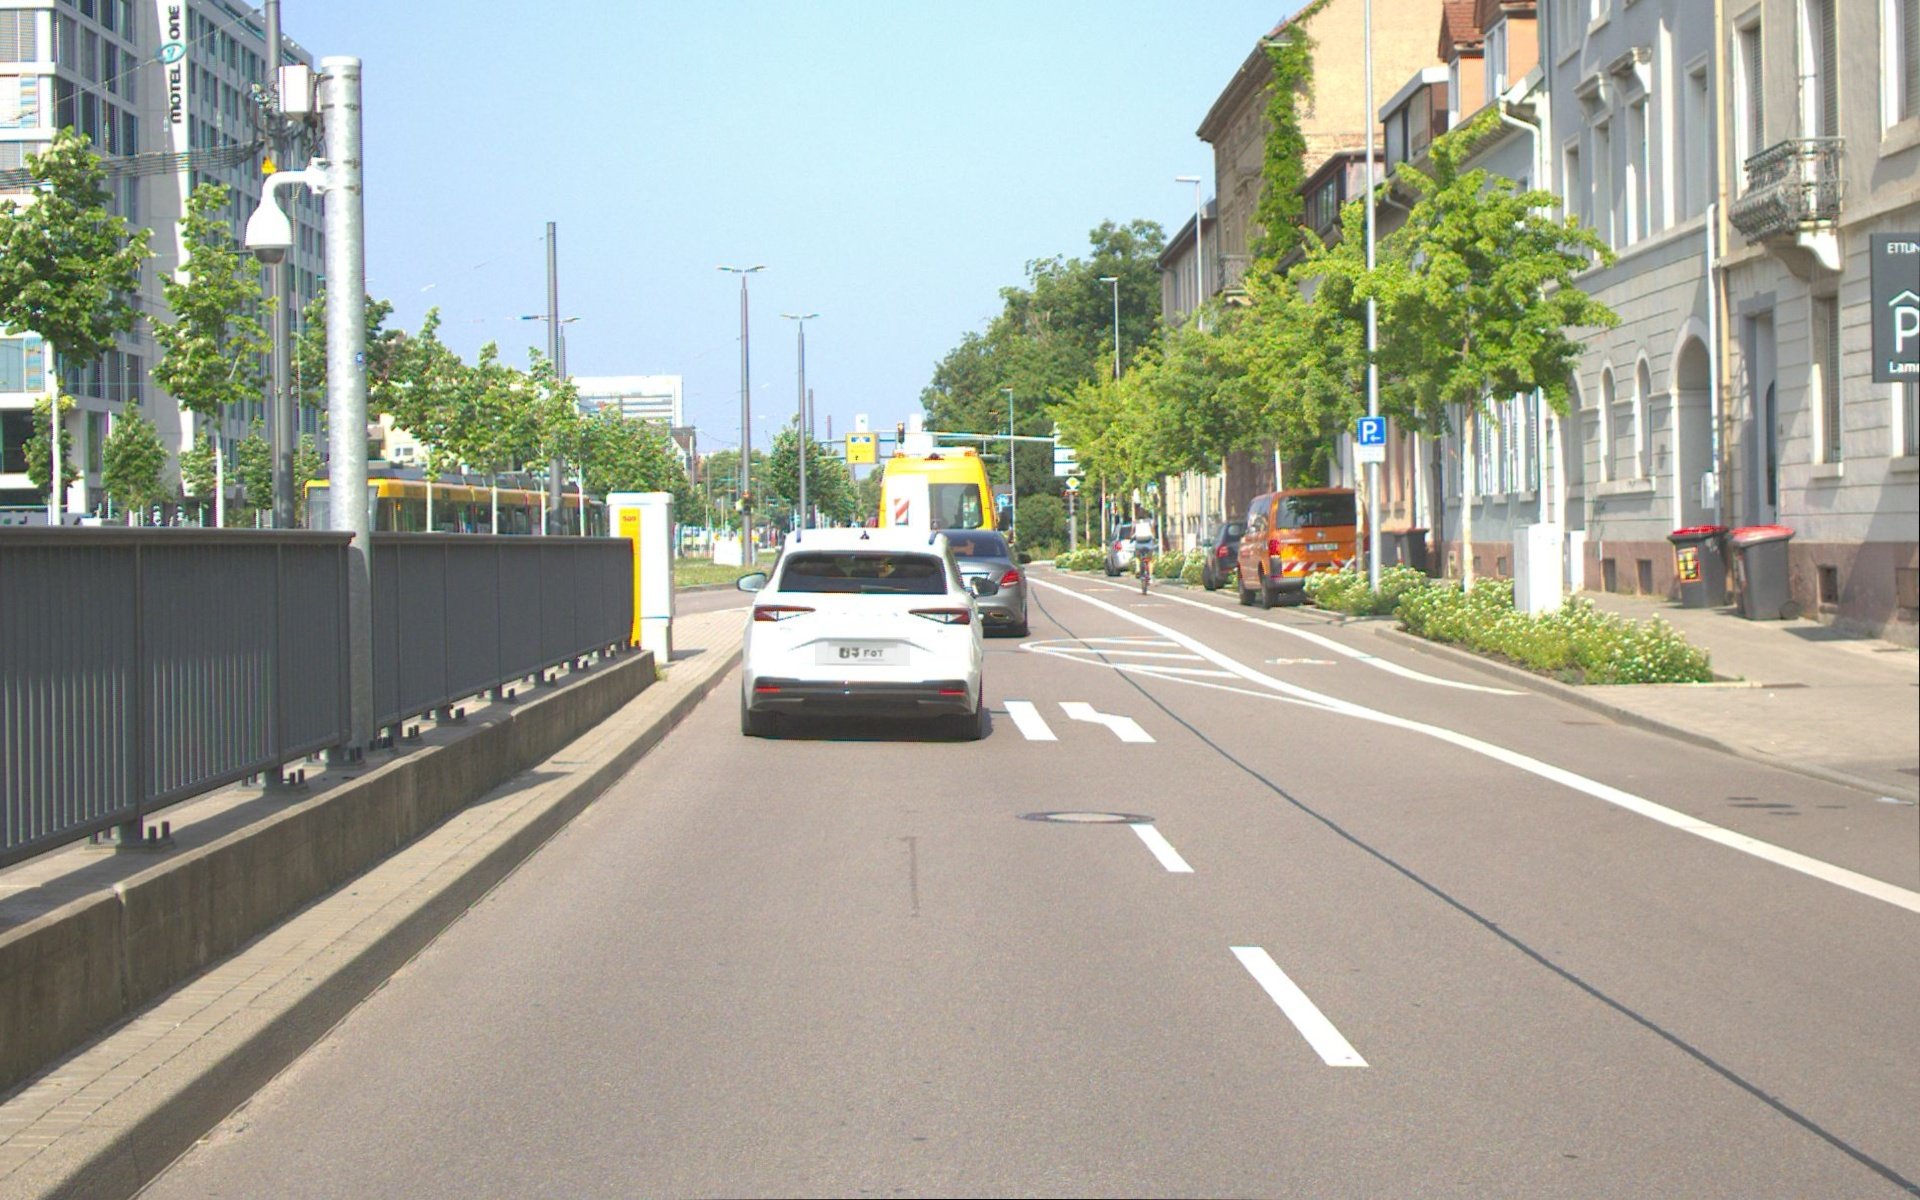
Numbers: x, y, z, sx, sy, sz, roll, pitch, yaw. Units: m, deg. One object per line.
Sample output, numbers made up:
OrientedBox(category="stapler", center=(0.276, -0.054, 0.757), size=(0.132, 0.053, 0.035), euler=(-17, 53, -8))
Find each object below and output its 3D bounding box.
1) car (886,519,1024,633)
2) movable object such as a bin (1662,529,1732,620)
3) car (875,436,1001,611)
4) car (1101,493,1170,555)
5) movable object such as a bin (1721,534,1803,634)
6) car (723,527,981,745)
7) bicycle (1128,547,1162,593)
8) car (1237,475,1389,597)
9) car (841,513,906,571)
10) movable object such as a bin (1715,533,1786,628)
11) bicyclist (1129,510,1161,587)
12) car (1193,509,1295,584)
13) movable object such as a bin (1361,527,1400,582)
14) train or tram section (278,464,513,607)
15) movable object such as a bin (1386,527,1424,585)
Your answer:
OrientedBox(category="car", center=(-0.071, -0.362, 46.430), size=(1.760, 1.431, 4.115), euler=(1, 1, 0))
OrientedBox(category="movable object such as a bin", center=(9.680, -0.342, 45.165), size=(0.669, 1.148, 0.617), euler=(-3, 4, -44))
OrientedBox(category="car", center=(-0.372, -1.368, 58.516), size=(2.020, 2.786, 5.402), euler=(-1, 3, 0))
OrientedBox(category="car", center=(5.230, -2.278, 103.064), size=(1.812, 1.806, 3.836), euler=(0, 1, -1))
OrientedBox(category="movable object such as a bin", center=(9.729, -0.199, 41.745), size=(0.781, 1.168, 0.808), euler=(0, 3, -1))
OrientedBox(category="car", center=(-0.802, 0.218, 27.154), size=(1.870, 1.569, 4.000), euler=(-1, 1, 0))
OrientedBox(category="bicycle", center=(3.812, -0.624, 70.761), size=(0.655, 0.935, 1.517), euler=(0, 1, 2))
OrientedBox(category="car", center=(6.067, -1.139, 59.568), size=(2.063, 2.006, 4.589), euler=(-1, 2, -1))
OrientedBox(category="car", center=(-2.732, -1.867, 109.535), size=(1.930, 1.815, 4.000), euler=(0, 1, 0))
OrientedBox(category="movable object such as a bin", center=(9.818, -0.244, 42.715), size=(0.704, 1.148, 0.671), euler=(0, 3, -1))
OrientedBox(category="bicyclist", center=(3.802, -1.073, 70.782), size=(0.639, 1.571, 0.771), euler=(0, 1, 2))
OrientedBox(category="car", center=(5.951, -1.128, 72.384), size=(1.673, 1.478, 4.312), euler=(-2, 1, -1))
OrientedBox(category="movable object such as a bin", center=(9.227, -1.009, 75.399), size=(0.740, 1.196, 0.773), euler=(0, 1, -1))
OrientedBox(category="train or tram section", center=(-15.831, -1.804, 98.215), size=(2.906, 3.663, 18.136), euler=(1, 1, 3))
OrientedBox(category="movable object such as a bin", center=(9.361, -0.926, 72.369), size=(0.679, 1.196, 0.781), euler=(0, 1, -1))
